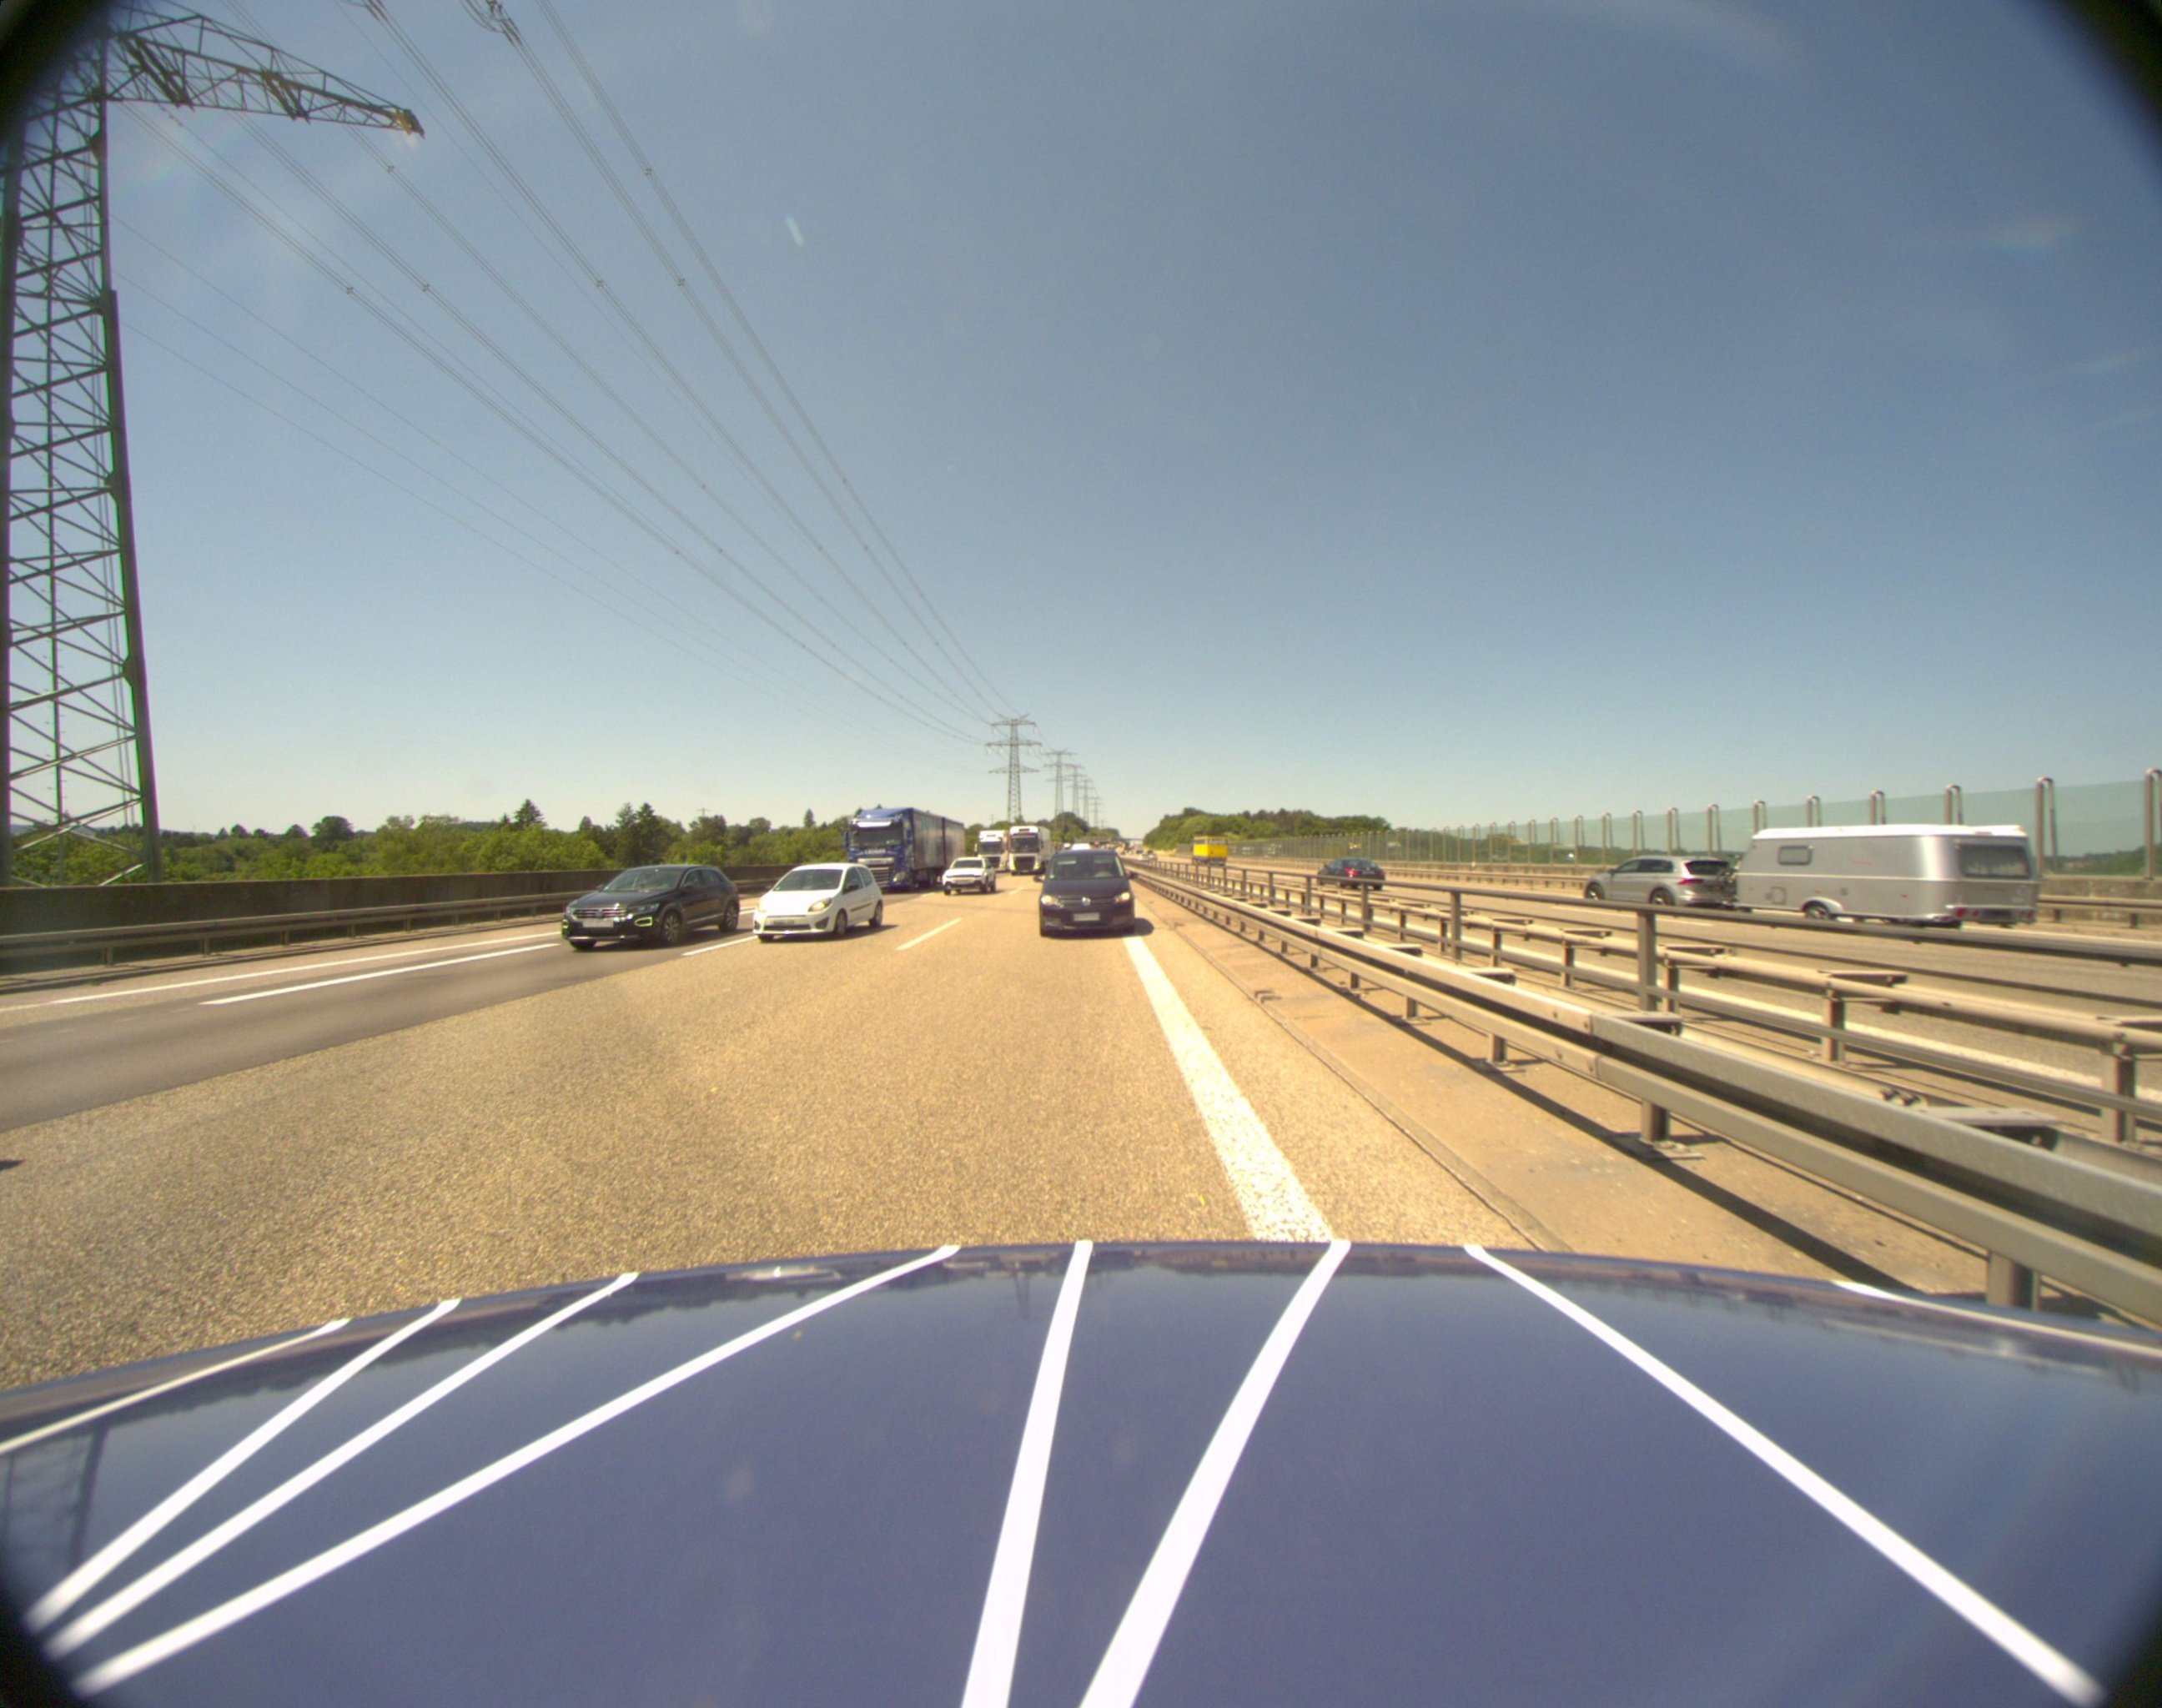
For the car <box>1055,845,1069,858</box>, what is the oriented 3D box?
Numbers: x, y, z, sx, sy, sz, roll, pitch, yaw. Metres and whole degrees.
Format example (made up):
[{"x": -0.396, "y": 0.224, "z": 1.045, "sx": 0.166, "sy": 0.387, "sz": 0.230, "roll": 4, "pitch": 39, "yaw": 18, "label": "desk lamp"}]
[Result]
[{"x": -3.005, "y": -0.394, "z": 121.712, "sx": 1.998, "sy": 2.002, "sz": 3.999, "roll": -2, "pitch": 1, "yaw": 1, "label": "car"}]

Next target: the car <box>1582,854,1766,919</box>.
[{"x": 16.501, "y": 0.832, "z": 21.479, "sx": 1.860, "sy": 1.536, "sz": 4.200, "roll": 1, "pitch": 1, "yaw": 0, "label": "car"}]

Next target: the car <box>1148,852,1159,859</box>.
[{"x": 15.012, "y": 0.283, "z": 157.441, "sx": 1.767, "sy": 1.374, "sz": 4.078, "roll": 1, "pitch": 0, "yaw": 0, "label": "car"}]

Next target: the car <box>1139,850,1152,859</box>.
[{"x": 10.612, "y": 0.003, "z": 124.996, "sx": 1.762, "sy": 1.440, "sz": 4.286, "roll": 1, "pitch": 1, "yaw": 0, "label": "car"}]

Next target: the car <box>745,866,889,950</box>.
[{"x": -5.347, "y": 1.025, "z": 15.881, "sx": 1.583, "sy": 1.432, "sz": 3.630, "roll": -2, "pitch": 0, "yaw": 2, "label": "car"}]

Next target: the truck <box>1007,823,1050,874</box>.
[{"x": -4.247, "y": -0.481, "z": 63.078, "sx": 2.914, "sy": 3.870, "sz": 6.739, "roll": -2, "pitch": 1, "yaw": 0, "label": "truck"}]

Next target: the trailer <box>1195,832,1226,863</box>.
[{"x": 17.714, "y": -0.873, "z": 104.992, "sx": 2.428, "sy": 4.040, "sz": 13.803, "roll": 0, "pitch": 0, "yaw": 2, "label": "trailer"}]

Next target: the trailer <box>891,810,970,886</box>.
[{"x": -8.927, "y": -0.399, "z": 46.415, "sx": 2.543, "sy": 3.971, "sz": 10.883, "roll": -2, "pitch": 1, "yaw": 0, "label": "trailer"}]

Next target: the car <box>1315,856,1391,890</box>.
[{"x": 12.230, "y": 0.807, "z": 34.491, "sx": 1.860, "sy": 1.389, "sz": 4.675, "roll": 0, "pitch": 0, "yaw": 1, "label": "car"}]

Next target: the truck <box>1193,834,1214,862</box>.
[{"x": 17.983, "y": -0.908, "z": 111.895, "sx": 2.420, "sy": 4.035, "sz": 5.543, "roll": 1, "pitch": 1, "yaw": 2, "label": "truck"}]

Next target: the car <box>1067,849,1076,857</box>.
[{"x": -1.928, "y": -0.266, "z": 154.313, "sx": 1.701, "sy": 1.599, "sz": 3.639, "roll": -2, "pitch": 1, "yaw": 1, "label": "car"}]

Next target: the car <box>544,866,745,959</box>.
[{"x": -8.489, "y": 1.056, "z": 15.238, "sx": 1.709, "sy": 1.497, "sz": 3.888, "roll": -2, "pitch": 0, "yaw": 0, "label": "car"}]

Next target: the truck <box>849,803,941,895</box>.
[{"x": -8.838, "y": -0.219, "z": 37.026, "sx": 2.517, "sy": 3.945, "sz": 7.926, "roll": -2, "pitch": 0, "yaw": -1, "label": "truck"}]

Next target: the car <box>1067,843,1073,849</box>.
[{"x": -3.318, "y": -2.478, "z": 235.841, "sx": 1.701, "sy": 1.599, "sz": 3.639, "roll": -2, "pitch": 1, "yaw": 1, "label": "car"}]

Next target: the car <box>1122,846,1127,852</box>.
[{"x": 14.912, "y": -1.588, "z": 260.867, "sx": 1.584, "sy": 2.002, "sz": 3.546, "roll": 0, "pitch": 0, "yaw": 1, "label": "car"}]

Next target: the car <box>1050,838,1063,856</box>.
[{"x": -4.619, "y": -1.305, "z": 143.922, "sx": 2.273, "sy": 3.303, "sz": 6.288, "roll": -2, "pitch": 1, "yaw": 0, "label": "car"}]

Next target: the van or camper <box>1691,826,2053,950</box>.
[{"x": 16.526, "y": 0.577, "z": 16.516, "sx": 1.999, "sy": 2.199, "sz": 5.536, "roll": 1, "pitch": 1, "yaw": 0, "label": "van or camper"}]

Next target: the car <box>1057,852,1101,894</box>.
[{"x": -0.082, "y": 0.733, "z": 31.727, "sx": 1.685, "sy": 1.607, "sz": 3.642, "roll": -2, "pitch": 0, "yaw": 0, "label": "car"}]

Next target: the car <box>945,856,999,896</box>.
[{"x": -4.575, "y": 0.883, "z": 32.354, "sx": 1.722, "sy": 1.526, "sz": 3.753, "roll": -2, "pitch": 0, "yaw": 0, "label": "car"}]

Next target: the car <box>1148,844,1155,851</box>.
[{"x": 22.049, "y": -1.948, "z": 237.772, "sx": 2.021, "sy": 2.002, "sz": 3.968, "roll": -2, "pitch": 1, "yaw": 1, "label": "car"}]

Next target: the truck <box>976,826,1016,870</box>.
[{"x": -8.092, "y": -0.586, "z": 73.248, "sx": 2.914, "sy": 3.870, "sz": 6.739, "roll": -2, "pitch": 1, "yaw": 0, "label": "truck"}]

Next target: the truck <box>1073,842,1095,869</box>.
[{"x": 0.309, "y": 0.094, "z": 80.262, "sx": 2.100, "sy": 2.700, "sz": 5.864, "roll": -2, "pitch": 1, "yaw": 1, "label": "truck"}]

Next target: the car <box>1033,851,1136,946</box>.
[{"x": 0.050, "y": 0.767, "z": 15.164, "sx": 1.739, "sy": 1.607, "sz": 3.911, "roll": -2, "pitch": 0, "yaw": 0, "label": "car"}]
